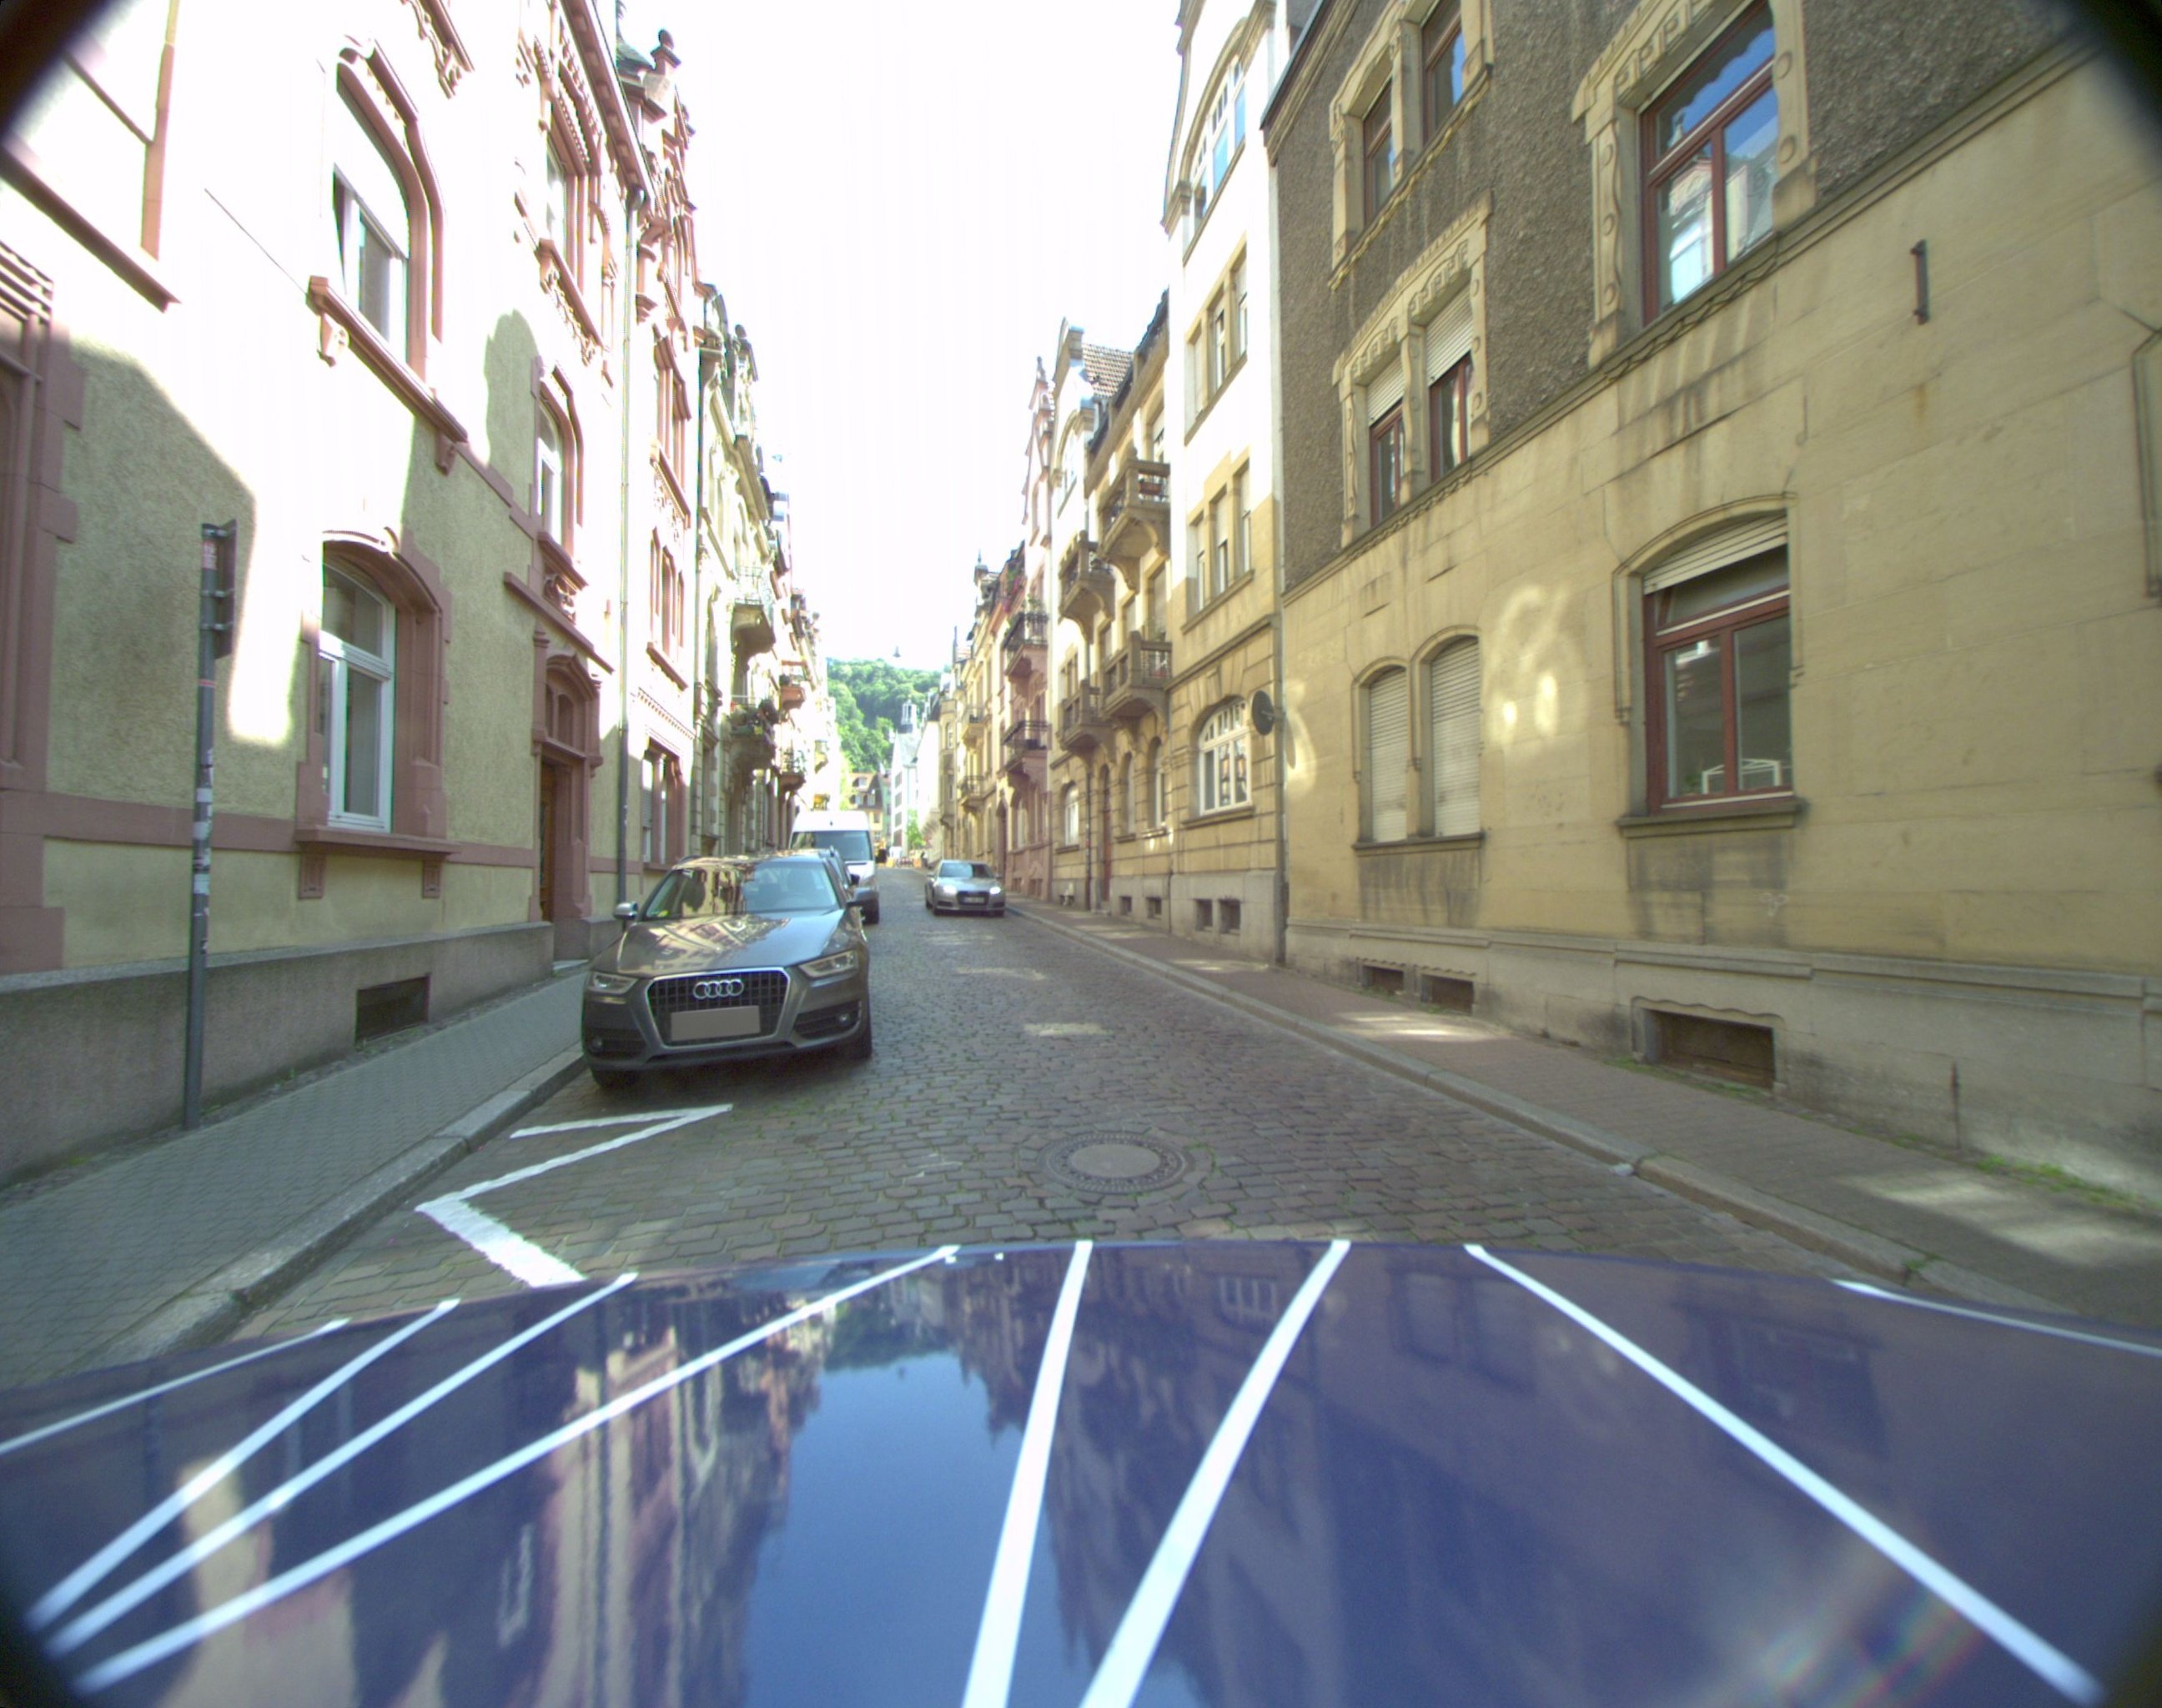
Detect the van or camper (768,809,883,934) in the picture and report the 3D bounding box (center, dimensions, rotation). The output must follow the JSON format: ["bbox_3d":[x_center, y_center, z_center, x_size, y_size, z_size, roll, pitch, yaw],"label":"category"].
[{"bbox_3d":[-6.124,0.320,18.802,2.228,2.505,6.757,0,1,-16],"label":"van or camper"}]

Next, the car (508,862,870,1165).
[{"bbox_3d":[-2.822,0.905,6.483,1.863,1.574,4.254,-2,1,-16],"label":"car"}]

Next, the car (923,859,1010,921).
[{"bbox_3d":[-3.225,0.892,20.668,1.878,1.483,4.377,0,0,-14],"label":"car"}]

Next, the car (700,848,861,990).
[{"bbox_3d":[-4.366,0.806,11.628,1.762,1.696,3.994,-3,1,-15],"label":"car"}]

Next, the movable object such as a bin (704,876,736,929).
[{"bbox_3d":[-7.553,0.997,15.903,0.518,1.083,0.421,0,-1,-15],"label":"movable object such as a bin"}]

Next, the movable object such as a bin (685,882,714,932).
[{"bbox_3d":[-7.375,1.018,14.709,0.440,0.951,0.349,0,-1,-15],"label":"movable object such as a bin"}]
